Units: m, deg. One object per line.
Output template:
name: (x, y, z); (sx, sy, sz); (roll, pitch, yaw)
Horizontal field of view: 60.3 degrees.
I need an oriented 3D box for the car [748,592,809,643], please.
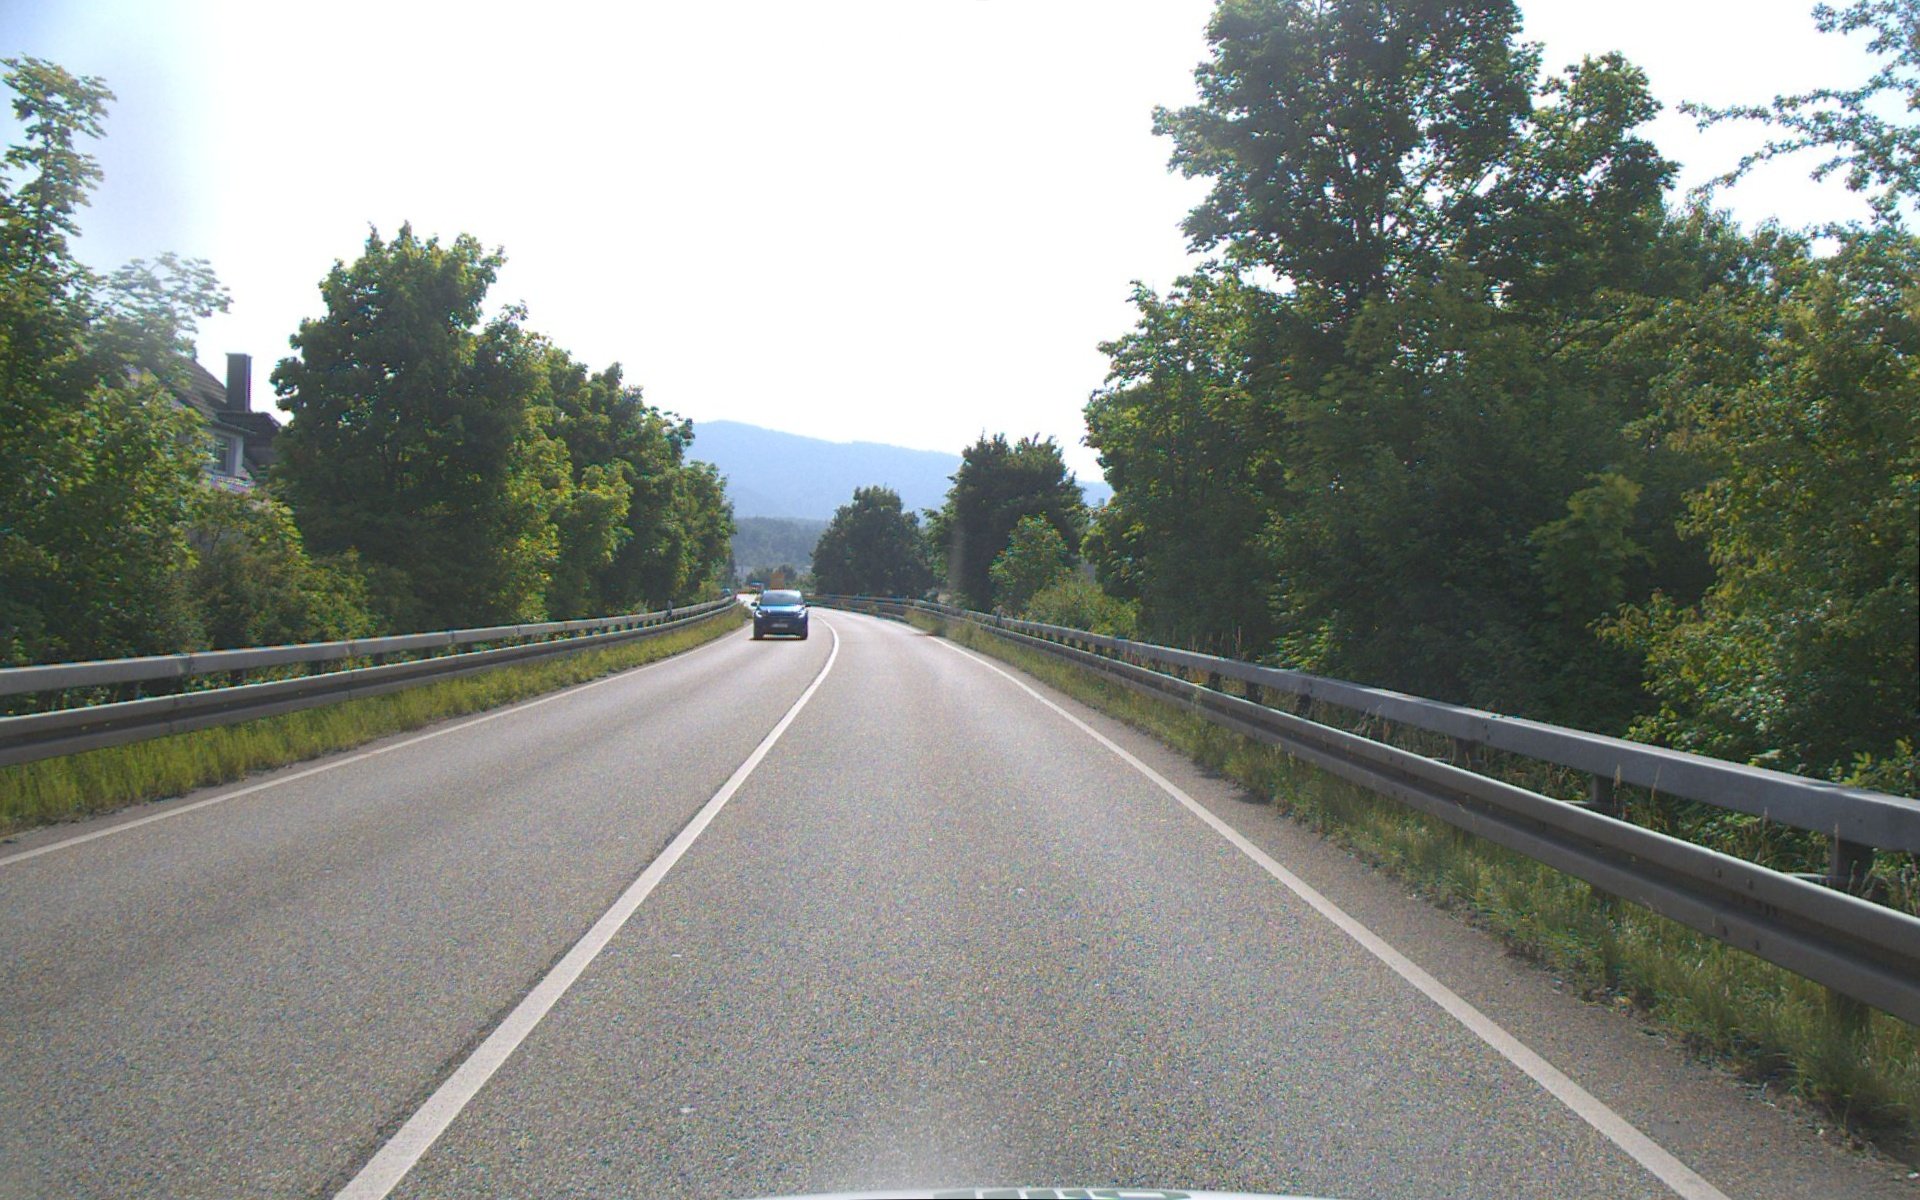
car: (-5.985, 0.563, 54.929); (1.772, 1.588, 3.990); (-1, 0, -4)
